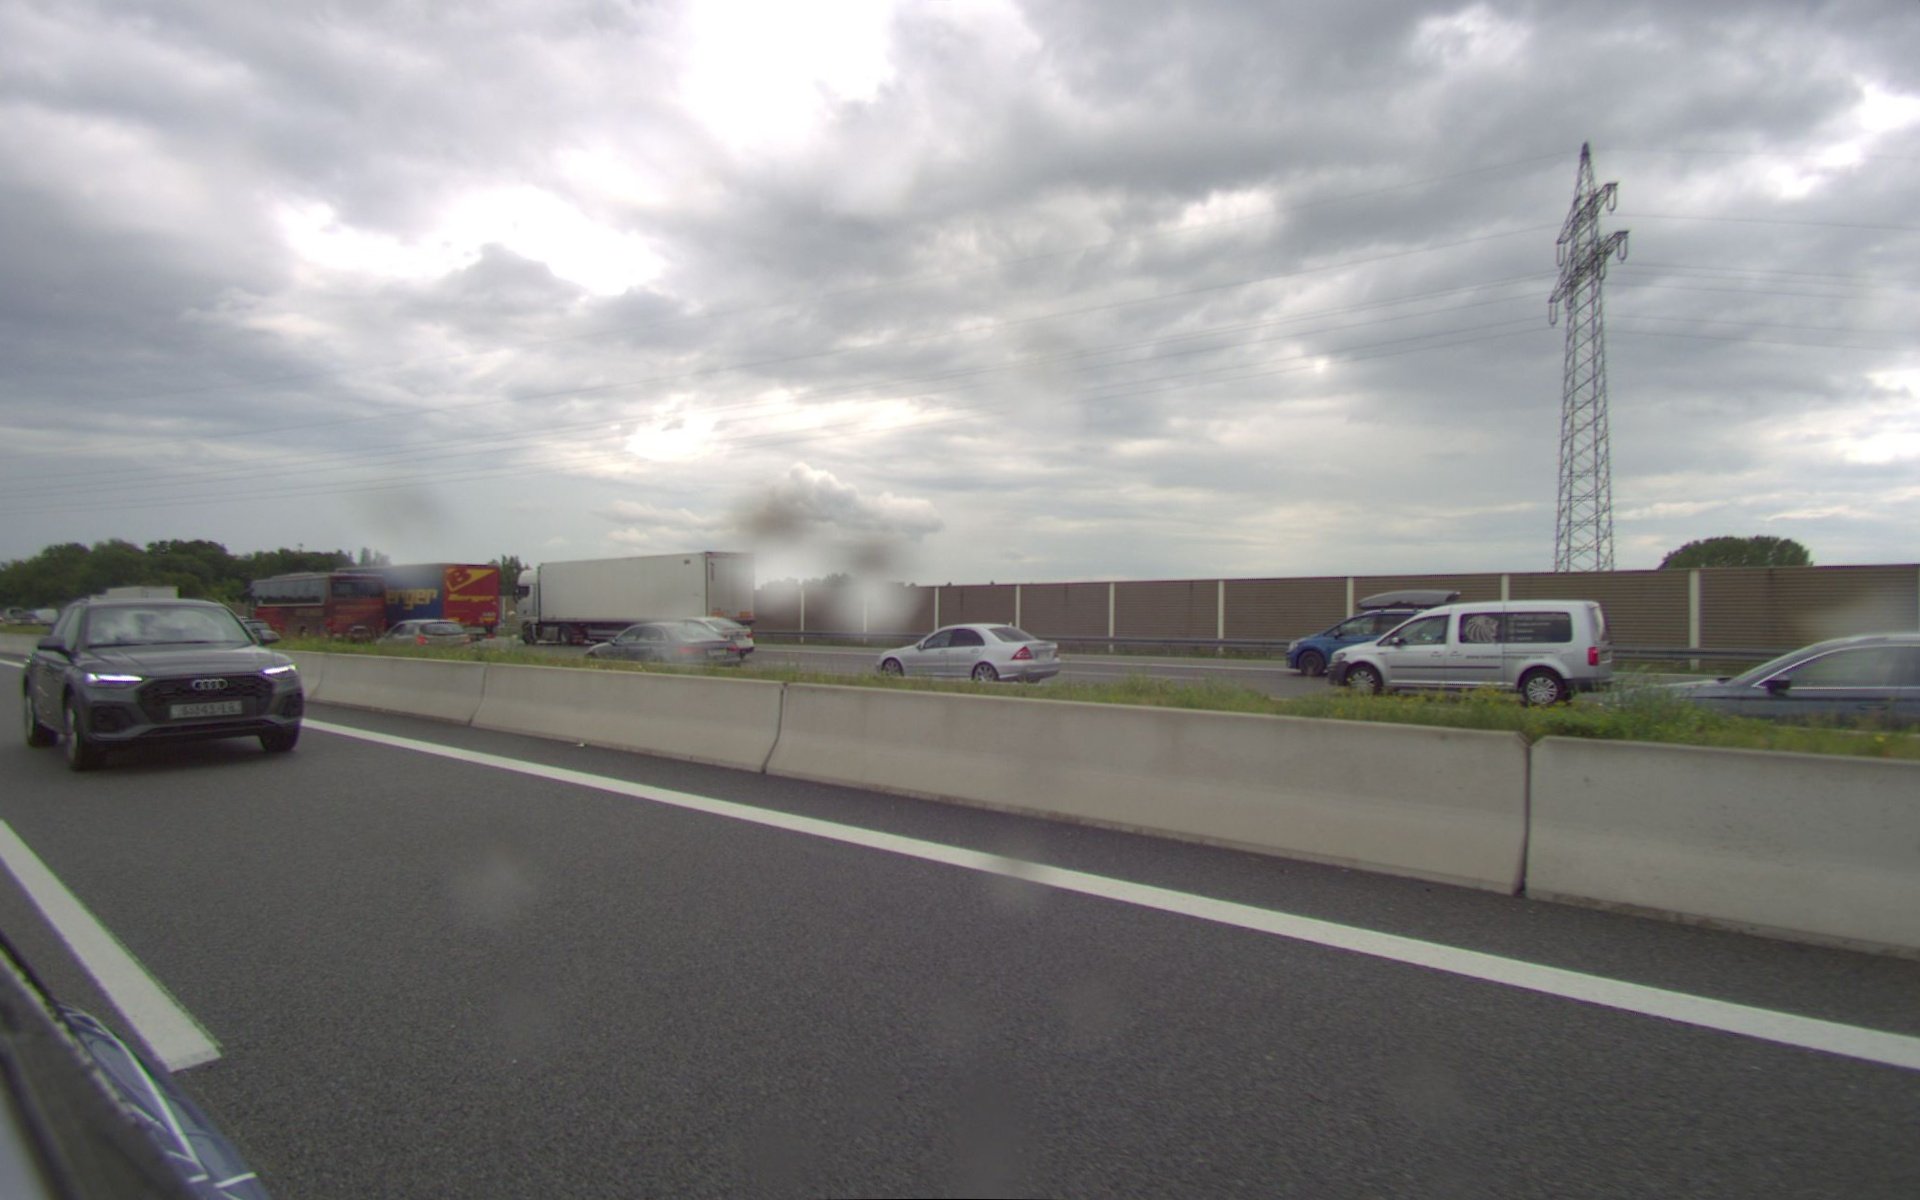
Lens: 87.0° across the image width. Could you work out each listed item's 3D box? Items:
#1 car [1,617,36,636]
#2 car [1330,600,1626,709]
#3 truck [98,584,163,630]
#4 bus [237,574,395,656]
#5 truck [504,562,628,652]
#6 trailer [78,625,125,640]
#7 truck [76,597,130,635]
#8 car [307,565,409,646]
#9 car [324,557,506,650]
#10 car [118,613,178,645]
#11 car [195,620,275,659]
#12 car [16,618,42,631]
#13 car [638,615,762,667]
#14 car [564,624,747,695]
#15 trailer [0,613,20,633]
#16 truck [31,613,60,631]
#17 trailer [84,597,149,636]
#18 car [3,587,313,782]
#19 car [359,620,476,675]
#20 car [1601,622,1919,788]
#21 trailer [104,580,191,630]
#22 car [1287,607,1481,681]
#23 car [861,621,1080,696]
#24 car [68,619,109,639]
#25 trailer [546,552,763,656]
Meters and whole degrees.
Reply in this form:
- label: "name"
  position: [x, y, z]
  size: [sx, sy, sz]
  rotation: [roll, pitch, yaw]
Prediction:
- label: "car"
  position: [-103.194, 2.881, 110.896]
  size: [6.085, 1.983, 2.256]
  rotation: [-1, 0, 42]
- label: "car"
  position: [9.431, 0.923, 18.647]
  size: [4.574, 1.752, 1.772]
  rotation: [-1, 0, 40]
- label: "truck"
  position: [-76.916, 0.623, 93.823]
  size: [6.521, 4.078, 3.623]
  rotation: [-1, 0, 41]
- label: "bus"
  position: [-31.973, 0.736, 49.905]
  size: [12.749, 3.638, 2.861]
  rotation: [-1, 0, 40]
- label: "truck"
  position: [-19.565, 0.348, 50.135]
  size: [6.617, 4.147, 2.871]
  rotation: [-1, 0, 40]
- label: "trailer"
  position: [-68.221, 2.544, 80.404]
  size: [4.755, 1.078, 2.072]
  rotation: [-1, 0, 39]
- label: "truck"
  position: [-102.554, 1.907, 121.076]
  size: [8.231, 4.351, 3.623]
  rotation: [-1, 0, 40]
- label: "car"
  position: [-32.959, 0.334, 55.307]
  size: [6.037, 4.181, 2.953]
  rotation: [-1, 0, 40]
- label: "car"
  position: [-27.734, 0.266, 50.898]
  size: [14.383, 4.155, 2.952]
  rotation: [-1, 0, 40]
- label: "car"
  position: [-44.758, 1.593, 55.729]
  size: [4.293, 1.678, 1.769]
  rotation: [-1, 0, 40]
- label: "car"
  position: [-31.760, 1.697, 44.314]
  size: [4.561, 1.545, 1.769]
  rotation: [-1, 0, 40]
- label: "car"
  position: [-116.063, 3.035, 126.094]
  size: [4.560, 1.480, 1.770]
  rotation: [-1, 0, 39]
- label: "car"
  position: [-8.933, 1.358, 34.543]
  size: [4.578, 1.603, 1.769]
  rotation: [-1, 0, 40]
- label: "car"
  position: [-7.162, 1.310, 23.551]
  size: [4.857, 1.437, 1.699]
  rotation: [-1, 0, 40]
- label: "trailer"
  position: [-142.113, 3.443, 150.939]
  size: [4.895, 2.984, 2.226]
  rotation: [-1, 0, 39]
- label: "truck"
  position: [-127.239, 3.059, 140.754]
  size: [6.258, 2.470, 2.081]
  rotation: [-1, 0, 40]
- label: "trailer"
  position: [-97.454, 1.867, 116.788]
  size: [12.457, 4.268, 3.623]
  rotation: [-1, 0, 40]
- label: "car"
  position: [-9.106, 0.771, 11.285]
  size: [5.167, 1.704, 1.888]
  rotation: [-1, -1, 42]
- label: "car"
  position: [-16.564, 1.393, 30.844]
  size: [4.209, 1.535, 1.699]
  rotation: [-1, 0, 40]
- label: "car"
  position: [8.965, 0.929, 9.430]
  size: [4.857, 1.392, 1.769]
  rotation: [-1, 0, 40]
- label: "trailer"
  position: [-71.980, 0.521, 89.486]
  size: [13.392, 4.139, 3.622]
  rotation: [-1, 0, 41]
- label: "car"
  position: [10.171, 1.023, 24.415]
  size: [3.952, 1.609, 1.769]
  rotation: [-1, 0, 40]
- label: "car"
  position: [0.127, 1.218, 22.354]
  size: [4.857, 1.437, 1.699]
  rotation: [-1, 0, 40]
- label: "car"
  position: [-71.828, 2.373, 83.378]
  size: [4.560, 1.574, 1.770]
  rotation: [-1, 0, 39]
- label: "trailer"
  position: [-14.062, 0.233, 45.525]
  size: [12.688, 4.147, 2.871]
  rotation: [-1, 0, 40]
